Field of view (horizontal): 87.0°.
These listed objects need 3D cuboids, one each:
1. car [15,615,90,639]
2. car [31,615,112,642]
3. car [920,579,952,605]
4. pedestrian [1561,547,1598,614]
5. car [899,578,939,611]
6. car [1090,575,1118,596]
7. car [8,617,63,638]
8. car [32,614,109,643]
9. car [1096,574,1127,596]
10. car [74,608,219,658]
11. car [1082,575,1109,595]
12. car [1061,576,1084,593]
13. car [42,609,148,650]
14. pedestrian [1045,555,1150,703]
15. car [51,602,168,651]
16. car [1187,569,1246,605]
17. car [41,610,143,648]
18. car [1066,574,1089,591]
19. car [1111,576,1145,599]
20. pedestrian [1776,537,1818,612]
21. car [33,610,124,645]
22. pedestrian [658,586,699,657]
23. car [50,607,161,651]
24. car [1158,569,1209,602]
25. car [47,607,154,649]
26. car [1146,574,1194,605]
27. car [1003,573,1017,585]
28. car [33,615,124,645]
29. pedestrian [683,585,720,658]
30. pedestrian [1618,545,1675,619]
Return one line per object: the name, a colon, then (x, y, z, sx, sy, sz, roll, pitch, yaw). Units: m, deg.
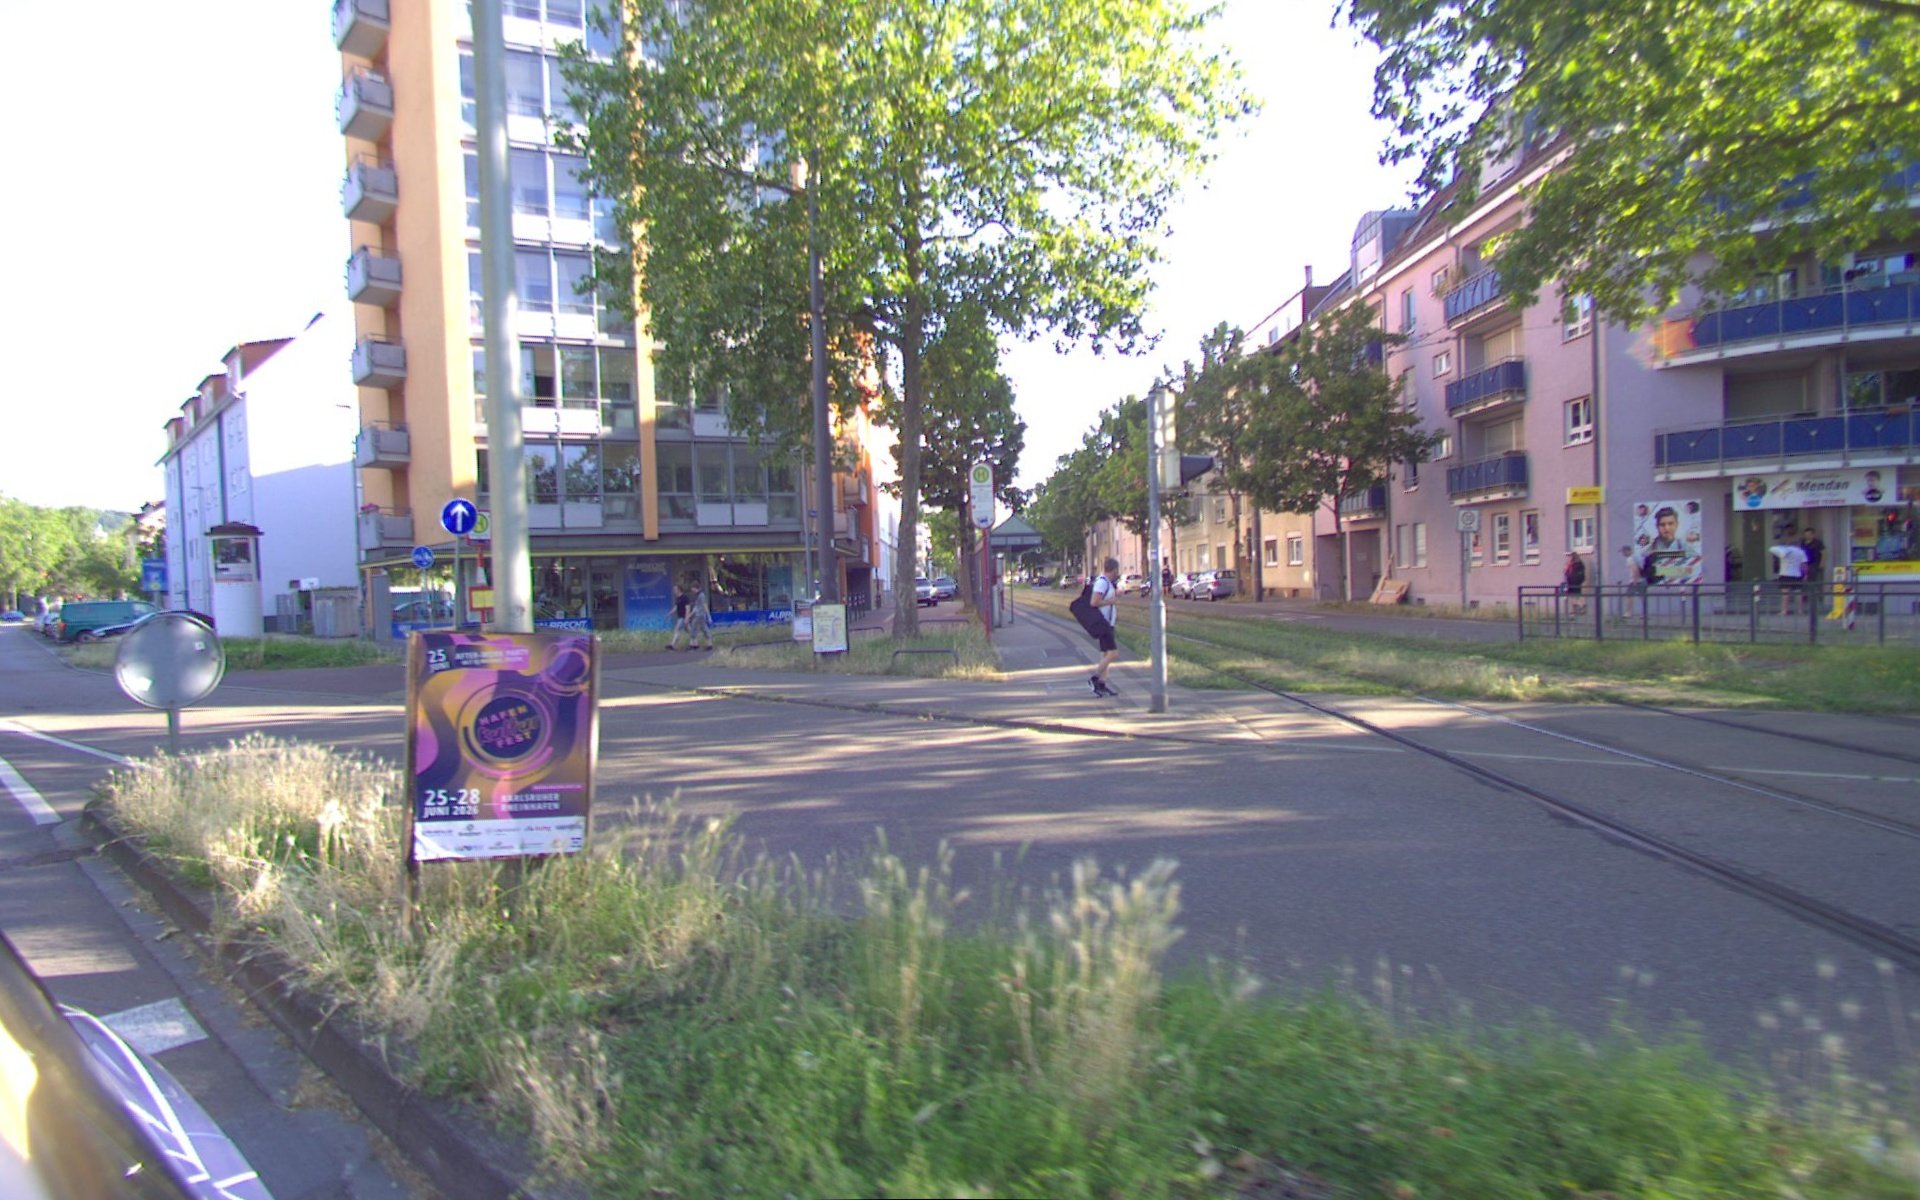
car: (-70.115, 2.073, 78.258, 4.197, 1.584, 1.869, -3, 2, -42)
car: (-62.556, 2.008, 71.320, 4.197, 1.584, 1.869, -3, 2, -42)
car: (-1.576, -0.539, 66.819, 2.022, 1.588, 4.047, -2, 2, -1)
pedestrian: (15.926, -0.514, 26.022, 0.543, 1.679, 0.620, -2, 1, 0)
car: (-2.154, -0.313, 54.400, 2.022, 1.588, 4.047, -2, 2, -1)
car: (12.507, -1.320, 88.038, 1.772, 1.718, 4.168, -2, 2, -1)
car: (-80.957, 2.389, 88.702, 3.488, 1.584, 1.869, -3, 2, -42)
car: (-62.688, 1.980, 71.378, 4.014, 1.764, 1.901, -3, 2, -42)
car: (12.354, -1.248, 82.853, 1.809, 1.718, 4.057, -2, 2, -1)
car: (-32.415, 1.256, 40.488, 4.359, 1.674, 2.004, -3, 2, -38)
car: (12.520, -1.441, 93.492, 1.831, 1.718, 4.168, -2, 2, -1)
car: (12.538, -1.777, 113.063, 1.912, 1.718, 4.370, -2, 2, -1)
car: (-44.532, 1.479, 52.161, 4.002, 1.829, 1.939, -3, 2, -42)
pedestrian: (1.727, 0.336, 12.613, 1.081, 1.750, 0.896, -1, 2, 22)
car: (-39.119, 1.162, 46.596, 3.940, 1.962, 2.002, -4, 2, -43)
car: (13.127, -0.710, 52.087, 1.912, 1.718, 4.113, -2, 2, -1)
car: (-46.420, 1.520, 54.161, 4.014, 1.764, 1.901, -3, 2, -42)
car: (12.447, -1.895, 107.566, 1.912, 1.718, 4.001, -2, 2, -1)
car: (12.532, -0.961, 75.744, 1.742, 1.588, 4.047, -2, 2, -1)
pedestrian: (19.188, -0.581, 23.203, 0.547, 1.679, 0.615, -1, 2, 21)
car: (-53.419, 1.634, 61.401, 4.059, 1.785, 1.759, -3, 2, -42)
pedestrian: (-7.186, 0.548, 25.837, 0.803, 1.763, 0.538, -2, 1, 9)
car: (-40.942, 1.347, 48.522, 3.939, 1.829, 2.003, -3, 2, -42)
car: (12.474, -0.821, 56.670, 1.912, 1.718, 3.825, -2, 2, -1)
car: (-42.862, 1.357, 50.507, 3.939, 1.829, 2.003, -3, 2, -42)
car: (12.679, -0.678, 61.282, 1.912, 1.718, 4.113, -2, 2, -1)
car: (7.759, -3.318, 156.782, 1.912, 1.718, 4.370, -2, 2, -1)
car: (-55.330, 1.849, 63.581, 4.197, 1.584, 1.869, -3, 2, -42)
pedestrian: (-6.400, 0.527, 25.059, 0.623, 1.763, 0.688, -2, 1, 8)
pedestrian: (15.912, -0.423, 23.470, 0.911, 1.679, 0.621, -2, 1, -13)
